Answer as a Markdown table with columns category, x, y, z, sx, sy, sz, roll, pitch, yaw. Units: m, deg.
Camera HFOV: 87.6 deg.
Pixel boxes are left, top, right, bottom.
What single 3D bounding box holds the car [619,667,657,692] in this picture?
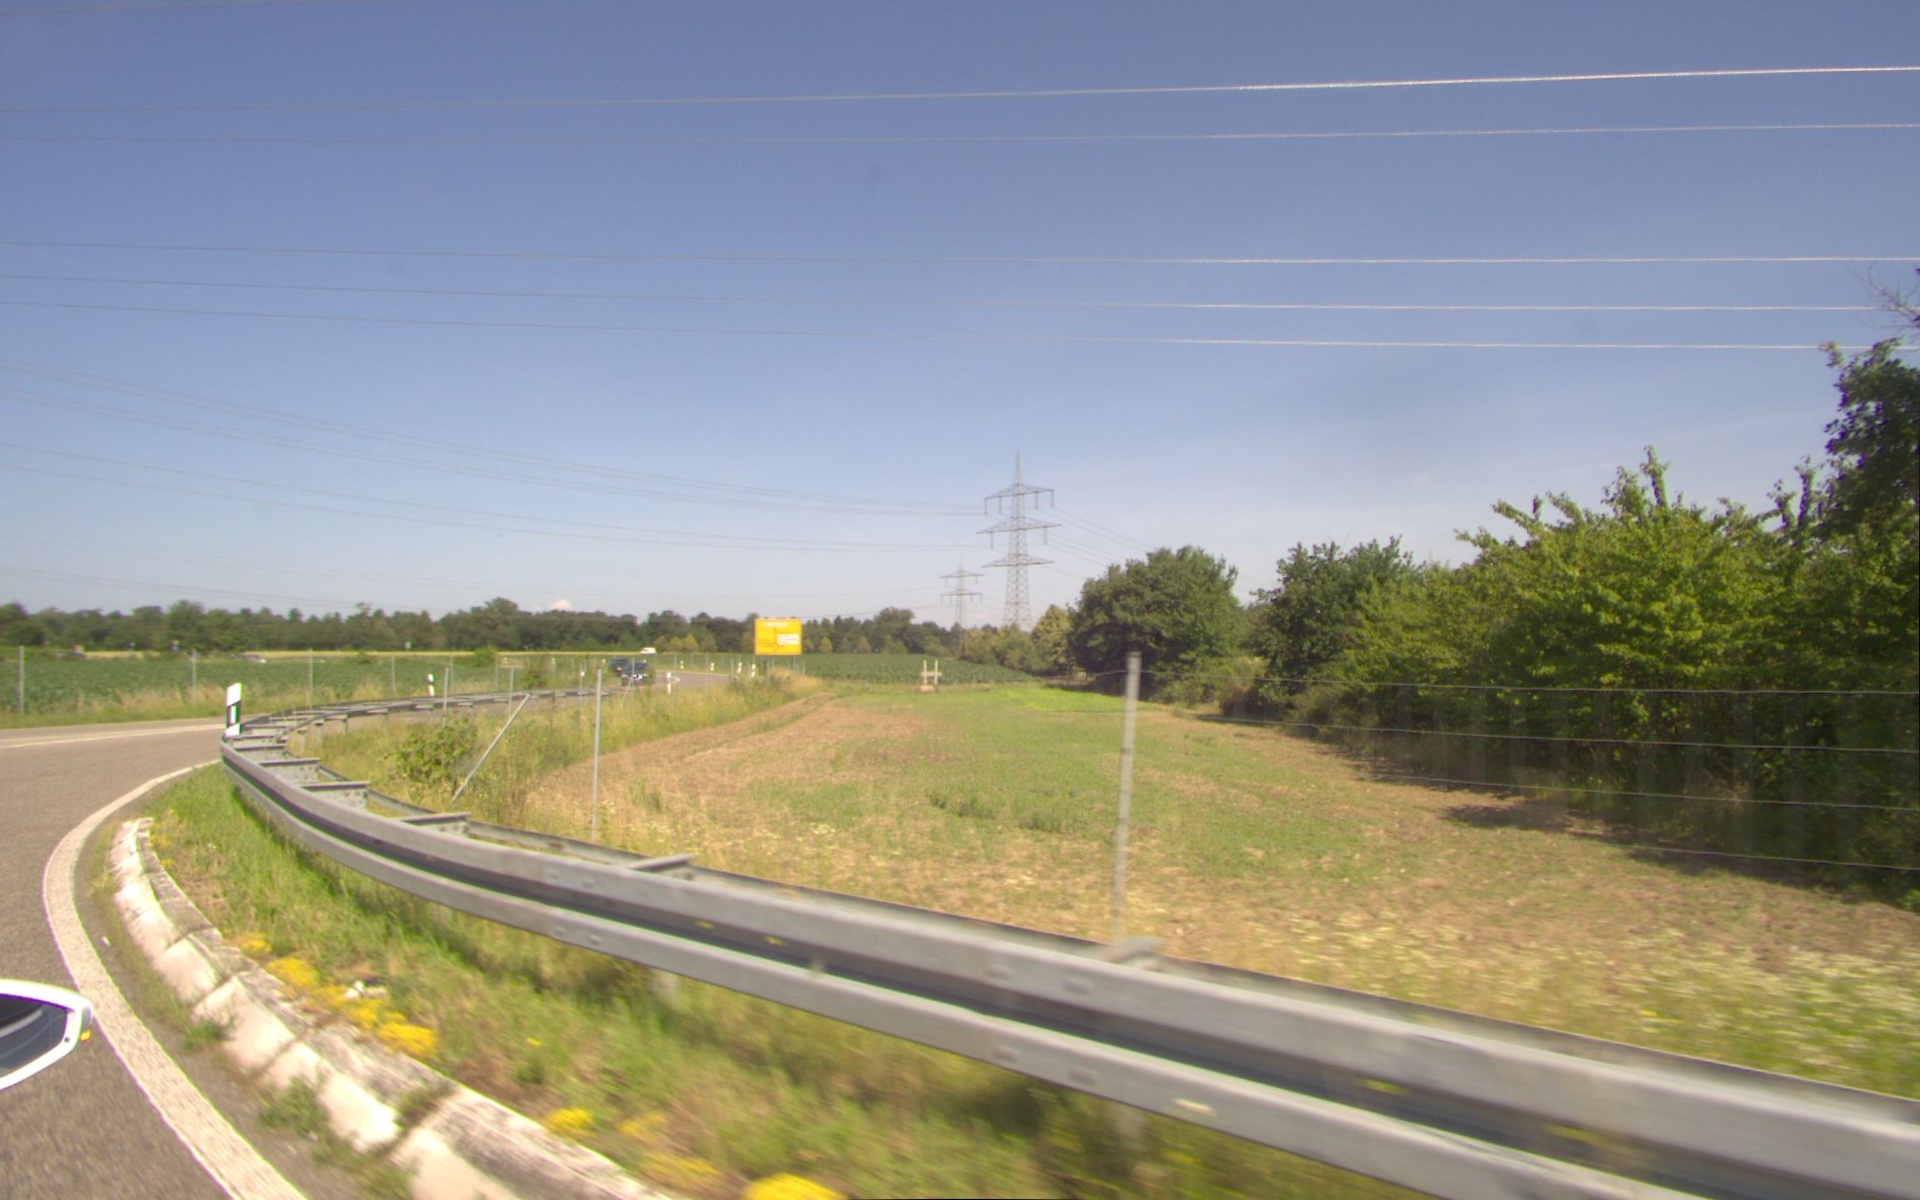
| category | x | y | z | sx | sy | sz | roll | pitch | yaw |
| --- | --- | --- | --- | --- | --- | --- | --- | --- | --- |
| car | -20.377 | 5.010 | 63.517 | 1.748 | 1.474 | 4.592 | 1 | -3 | -11 |

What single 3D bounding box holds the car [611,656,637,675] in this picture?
| category | x | y | z | sx | sy | sz | roll | pitch | yaw |
| --- | --- | --- | --- | --- | --- | --- | --- | --- | --- |
| car | -32.138 | 6.270 | 95.737 | 1.958 | 1.727 | 4.249 | 2 | -3 | -23 |
